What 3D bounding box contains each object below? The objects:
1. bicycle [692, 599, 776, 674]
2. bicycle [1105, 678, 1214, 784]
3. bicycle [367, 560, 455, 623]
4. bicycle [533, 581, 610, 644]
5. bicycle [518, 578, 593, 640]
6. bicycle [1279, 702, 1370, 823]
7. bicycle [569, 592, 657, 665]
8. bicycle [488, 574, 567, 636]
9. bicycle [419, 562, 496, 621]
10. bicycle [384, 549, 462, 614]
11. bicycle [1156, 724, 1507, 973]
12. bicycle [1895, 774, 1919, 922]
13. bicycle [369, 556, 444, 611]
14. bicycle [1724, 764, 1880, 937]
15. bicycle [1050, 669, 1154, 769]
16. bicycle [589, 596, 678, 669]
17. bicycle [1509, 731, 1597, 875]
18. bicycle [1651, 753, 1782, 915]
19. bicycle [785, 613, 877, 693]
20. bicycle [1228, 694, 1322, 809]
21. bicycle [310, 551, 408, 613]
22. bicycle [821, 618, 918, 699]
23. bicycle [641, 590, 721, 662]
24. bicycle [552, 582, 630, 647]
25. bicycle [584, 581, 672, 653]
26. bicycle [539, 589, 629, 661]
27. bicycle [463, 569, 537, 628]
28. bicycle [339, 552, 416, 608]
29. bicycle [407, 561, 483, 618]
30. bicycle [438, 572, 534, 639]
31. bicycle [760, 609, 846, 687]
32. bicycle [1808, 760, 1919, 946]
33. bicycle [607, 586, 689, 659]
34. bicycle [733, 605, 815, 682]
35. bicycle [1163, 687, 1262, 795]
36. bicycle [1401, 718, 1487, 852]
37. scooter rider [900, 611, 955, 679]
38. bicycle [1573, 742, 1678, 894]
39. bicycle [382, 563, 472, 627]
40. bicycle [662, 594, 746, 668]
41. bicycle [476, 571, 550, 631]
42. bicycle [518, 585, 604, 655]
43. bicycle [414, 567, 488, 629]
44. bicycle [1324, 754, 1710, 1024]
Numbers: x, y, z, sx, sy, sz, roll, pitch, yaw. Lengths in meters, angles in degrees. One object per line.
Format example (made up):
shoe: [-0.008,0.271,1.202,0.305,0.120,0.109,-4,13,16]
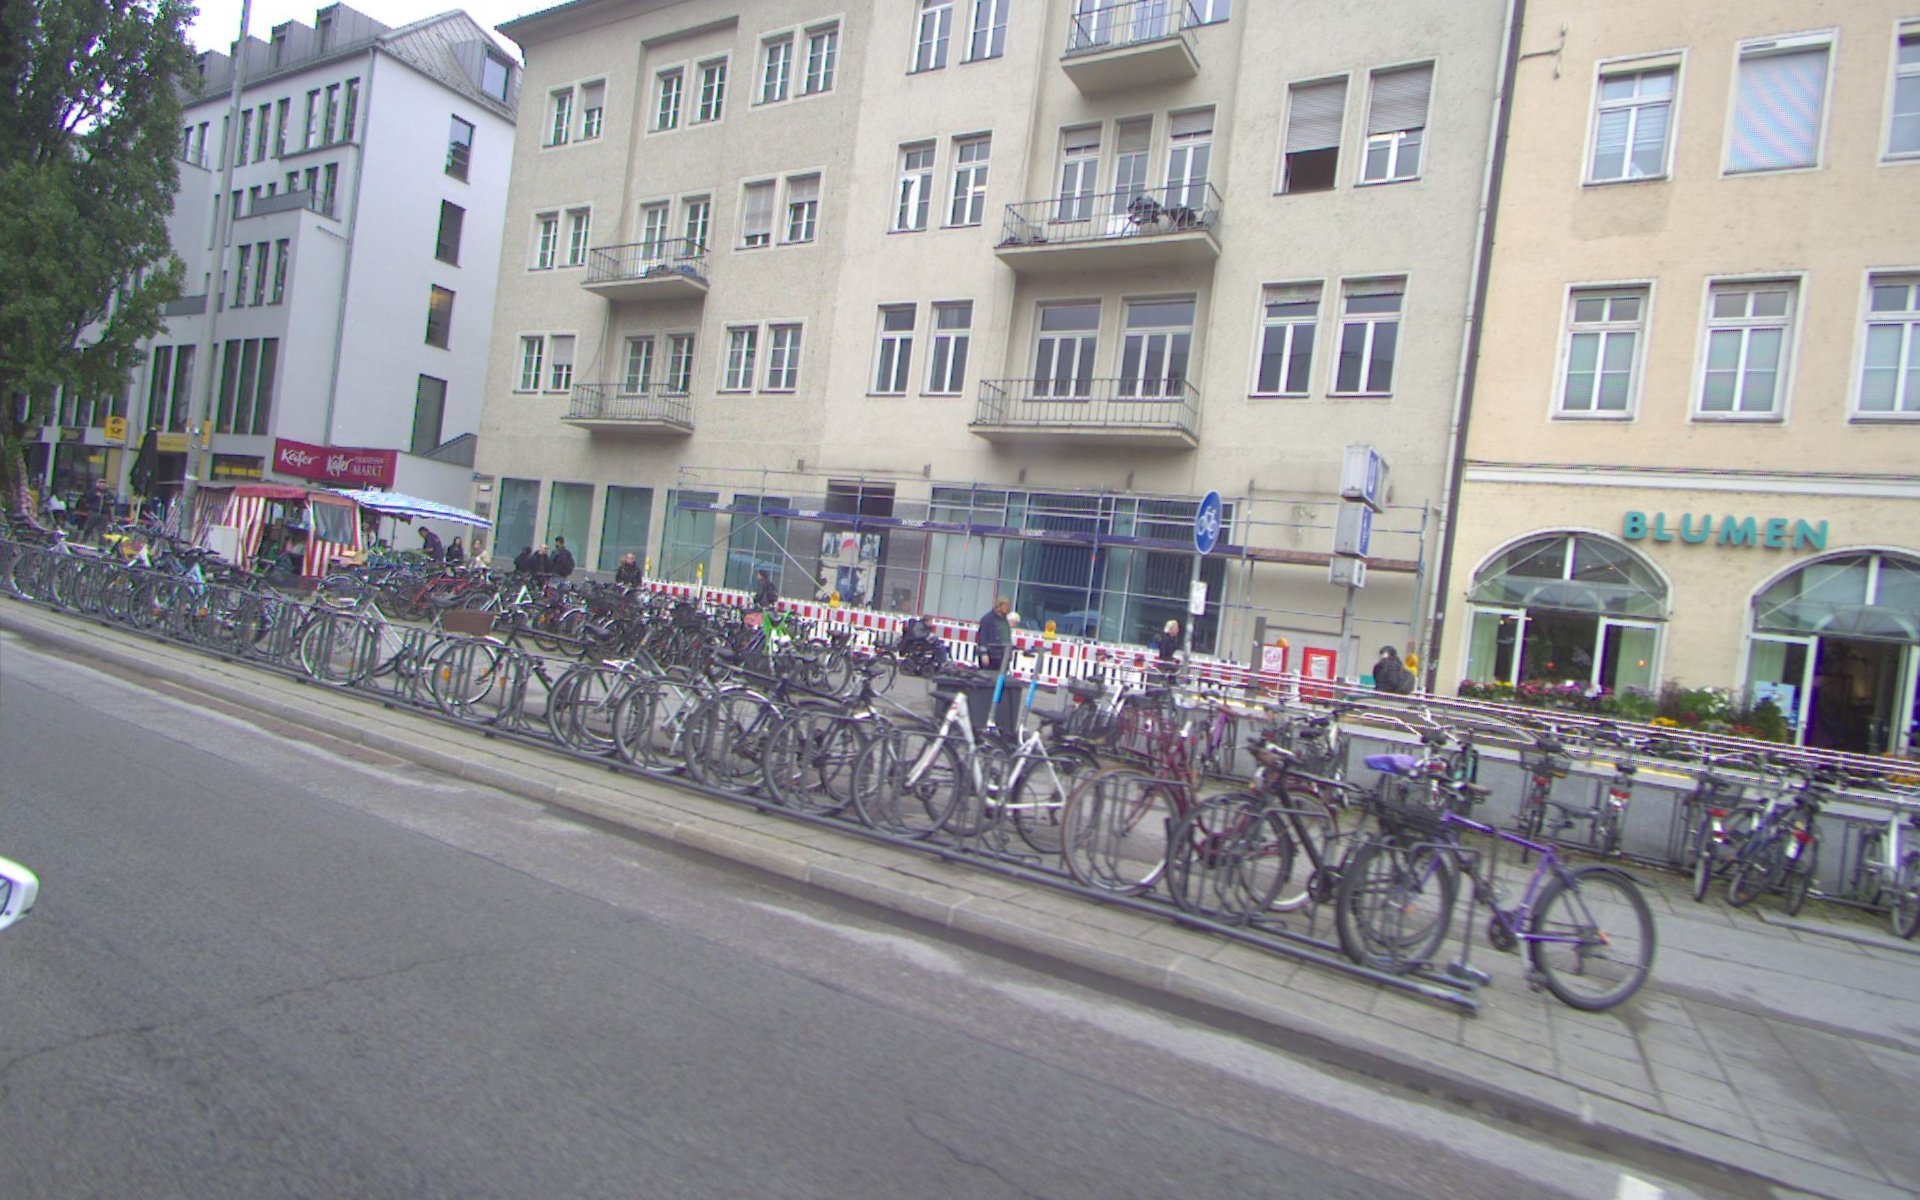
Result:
bicycle: [-3.512,0.588,15.740,0.362,1.088,1.430,7,0,25]
bicycle: [2.156,1.357,10.708,0.445,0.976,1.756,7,0,32]
bicycle: [-9.684,-0.134,17.772,0.363,0.975,1.262,8,0,34]
bicycle: [-6.681,0.228,17.364,0.362,0.993,1.247,7,0,25]
bicycle: [-7.111,0.180,17.728,0.362,0.993,1.247,7,0,23]
bicycle: [3.578,1.530,9.797,0.445,0.976,1.757,7,0,29]
bicycle: [-5.129,0.441,14.911,0.363,0.975,1.133,8,0,37]
bicycle: [-7.705,0.102,17.972,0.363,0.993,1.246,7,0,28]
bicycle: [-9.579,-0.145,19.211,0.363,0.993,1.246,7,0,29]
bicycle: [-10.564,-0.348,19.814,0.363,1.154,1.246,7,0,29]
bicycle: [1.908,1.277,5.209,1.575,1.041,0.498,8,0,-11]
bicycle: [7.529,1.940,7.344,0.500,1.107,1.841,7,0,29]
bicycle: [-11.119,-0.322,20.244,0.363,0.975,1.246,7,0,29]
bicycle: [6.521,1.881,7.877,0.500,0.976,1.841,7,0,29]
bicycle: [1.598,1.283,11.094,0.363,0.976,1.756,8,0,32]
bicycle: [-4.755,0.488,14.700,0.363,0.975,1.133,8,0,37]
bicycle: [5.173,1.721,8.835,0.500,0.976,1.841,7,0,29]
bicycle: [6.111,1.834,8.208,0.500,0.976,1.841,7,0,29]
bicycle: [-1.895,0.796,14.945,0.443,1.088,1.553,7,0,27]
bicycle: [3.197,1.474,10.119,0.445,0.976,1.757,7,0,29]
bicycle: [-10.985,-0.317,18.429,0.363,0.975,1.431,8,0,37]
bicycle: [-1.303,0.877,14.736,0.444,1.088,1.552,8,0,32]
bicycle: [-4.500,0.442,16.287,0.362,1.088,1.331,7,0,25]
bicycle: [-6.211,0.261,16.974,0.362,0.993,1.247,7,0,25]
bicycle: [-5.549,0.307,16.886,0.362,1.088,1.504,7,0,25]
bicycle: [-5.678,0.394,15.236,0.363,0.975,1.181,8,0,35]
bicycle: [-8.535,-0.010,18.713,0.362,0.993,1.247,7,0,23]
bicycle: [-11.703,-0.386,20.243,0.363,0.975,1.246,7,0,29]
bicycle: [-10.013,-0.194,19.585,0.363,0.993,1.246,7,0,29]
bicycle: [-7.677,0.106,16.350,0.363,0.975,1.405,7,0,26]
bicycle: [-2.343,0.738,15.203,0.362,1.088,1.554,7,0,25]
bicycle: [7.046,1.868,7.614,0.500,1.107,1.841,7,0,29]
bicycle: [-5.062,0.385,16.398,0.362,1.088,1.331,7,0,25]
bicycle: [-2.822,0.676,15.390,0.362,1.088,1.430,7,0,25]
bicycle: [2.669,1.425,10.501,0.445,0.976,1.757,7,0,29]
bicycle: [4.470,1.632,9.233,0.500,0.976,1.841,7,0,29]
scooter rider: [-0.642,0.896,20.042,0.707,1.235,0.686,8,2,29]
bicycle: [5.602,1.778,8.539,0.500,0.976,1.841,7,0,29]
bicycle: [-9.279,-0.079,17.530,0.364,0.975,1.259,8,0,40]
bicycle: [-4.045,0.518,15.977,0.362,1.088,1.430,7,0,25]
bicycle: [-8.155,0.034,18.395,0.362,0.993,1.247,7,0,23]
bicycle: [-6.131,0.319,15.510,0.363,0.975,1.183,7,0,29]
bicycle: [-8.624,-0.009,17.090,0.362,0.975,1.229,7,0,10]
bicycle: [2.659,1.381,4.837,1.575,1.041,0.498,8,0,-11]
